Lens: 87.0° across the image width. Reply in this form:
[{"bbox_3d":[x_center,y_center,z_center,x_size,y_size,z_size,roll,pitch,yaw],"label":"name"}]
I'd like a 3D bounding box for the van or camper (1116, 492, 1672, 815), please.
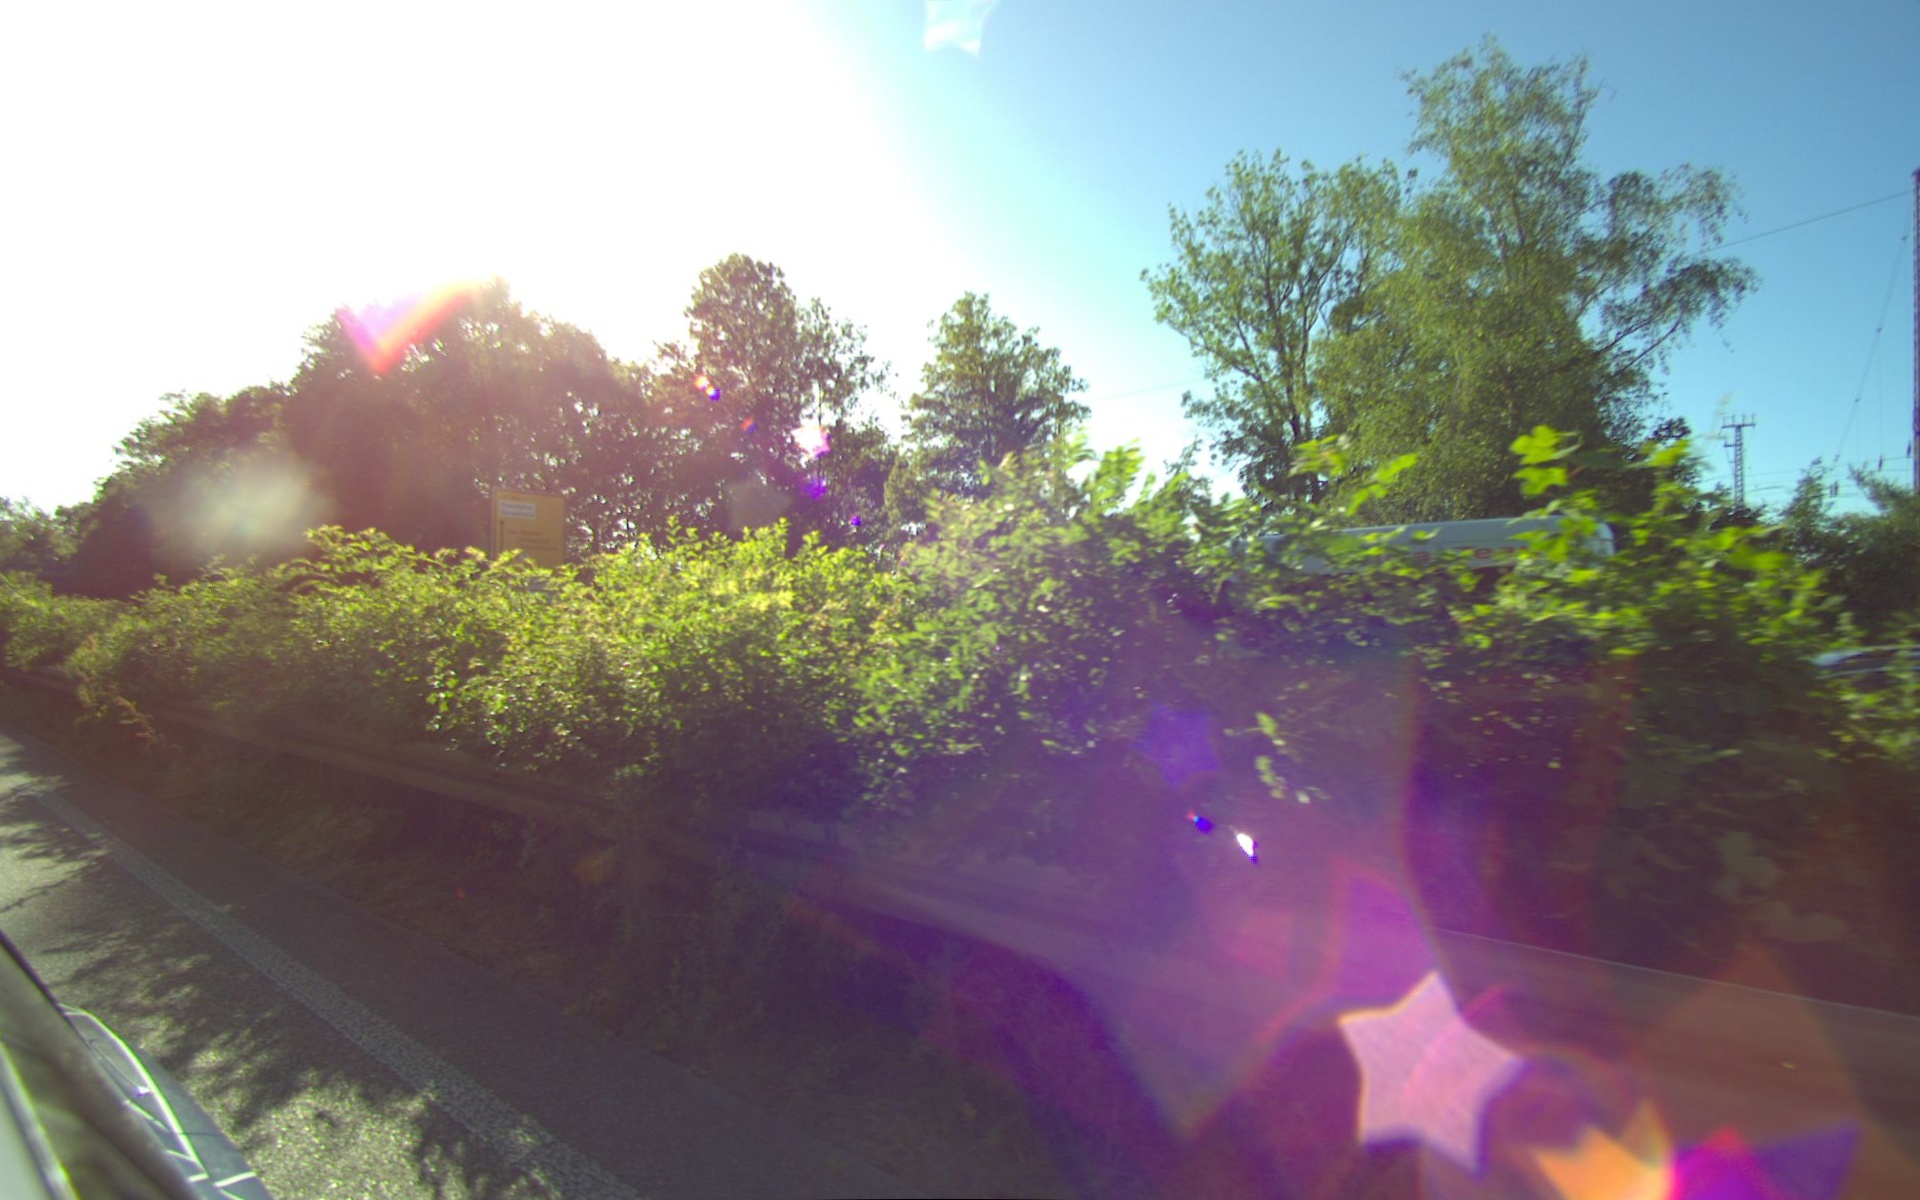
[{"bbox_3d":[4.482,0.513,11.105,5.251,2.743,1.973,-1,-2,41],"label":"van or camper"}]
